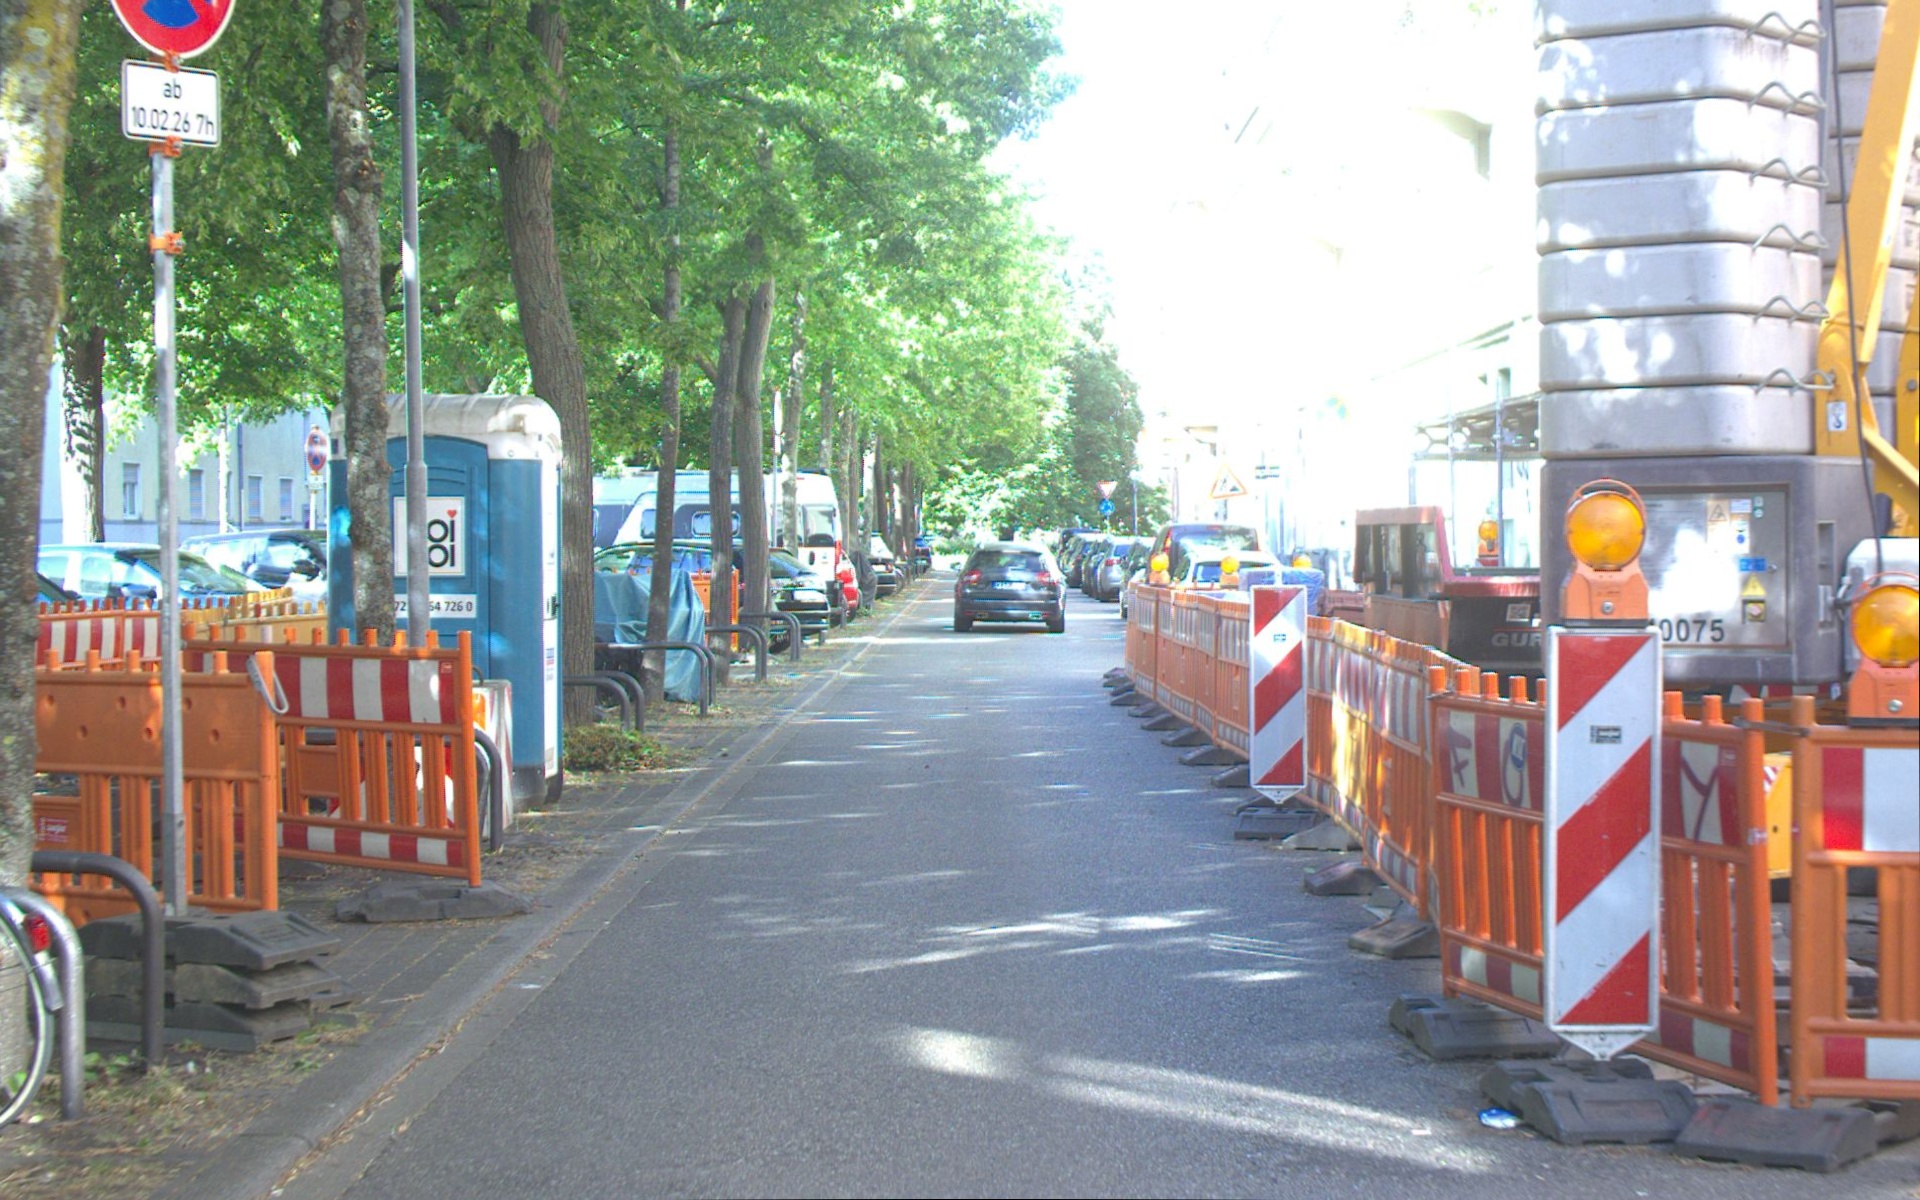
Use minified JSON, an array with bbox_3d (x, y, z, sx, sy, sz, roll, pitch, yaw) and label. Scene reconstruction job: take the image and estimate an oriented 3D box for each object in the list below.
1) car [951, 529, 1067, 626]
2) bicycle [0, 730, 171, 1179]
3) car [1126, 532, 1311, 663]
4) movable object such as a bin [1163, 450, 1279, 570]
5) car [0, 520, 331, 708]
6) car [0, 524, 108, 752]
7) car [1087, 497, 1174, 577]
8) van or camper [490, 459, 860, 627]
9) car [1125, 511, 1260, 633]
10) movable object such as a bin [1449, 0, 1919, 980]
[{"bbox_3d":[0.784,-0.398,56.730,1.797,1.498,3.586,-1,1,-1],"label":"car"},{"bbox_3d":[-2.866,0.829,8.502,1.899,1.003,0.430,0,1,24],"label":"bicycle"},{"bbox_3d":[2.929,-0.059,39.549,1.797,1.380,3.586,-1,1,-1],"label":"car"},{"bbox_3d":[5.012,-1.742,66.572,1.797,2.225,4.607,-1,1,-1],"label":"movable object such as a bin"},{"bbox_3d":[-8.022,0.110,31.636,3.993,1.601,1.997,0,2,28],"label":"car"},{"bbox_3d":[-8.525,0.281,25.402,3.993,1.601,1.997,0,2,28],"label":"car"},{"bbox_3d":[3.958,-1.483,80.224,1.797,1.794,3.586,-1,1,-1],"label":"car"},{"bbox_3d":[-4.416,-0.861,52.902,5.342,2.466,2.290,0,2,33],"label":"van or camper"},{"bbox_3d":[3.589,-0.467,53.595,1.797,1.794,3.586,-1,1,-1],"label":"car"},{"bbox_3d":[3.782,-2.173,11.871,3.485,6.736,2.364,0,1,33],"label":"movable object such as a bin"}]
